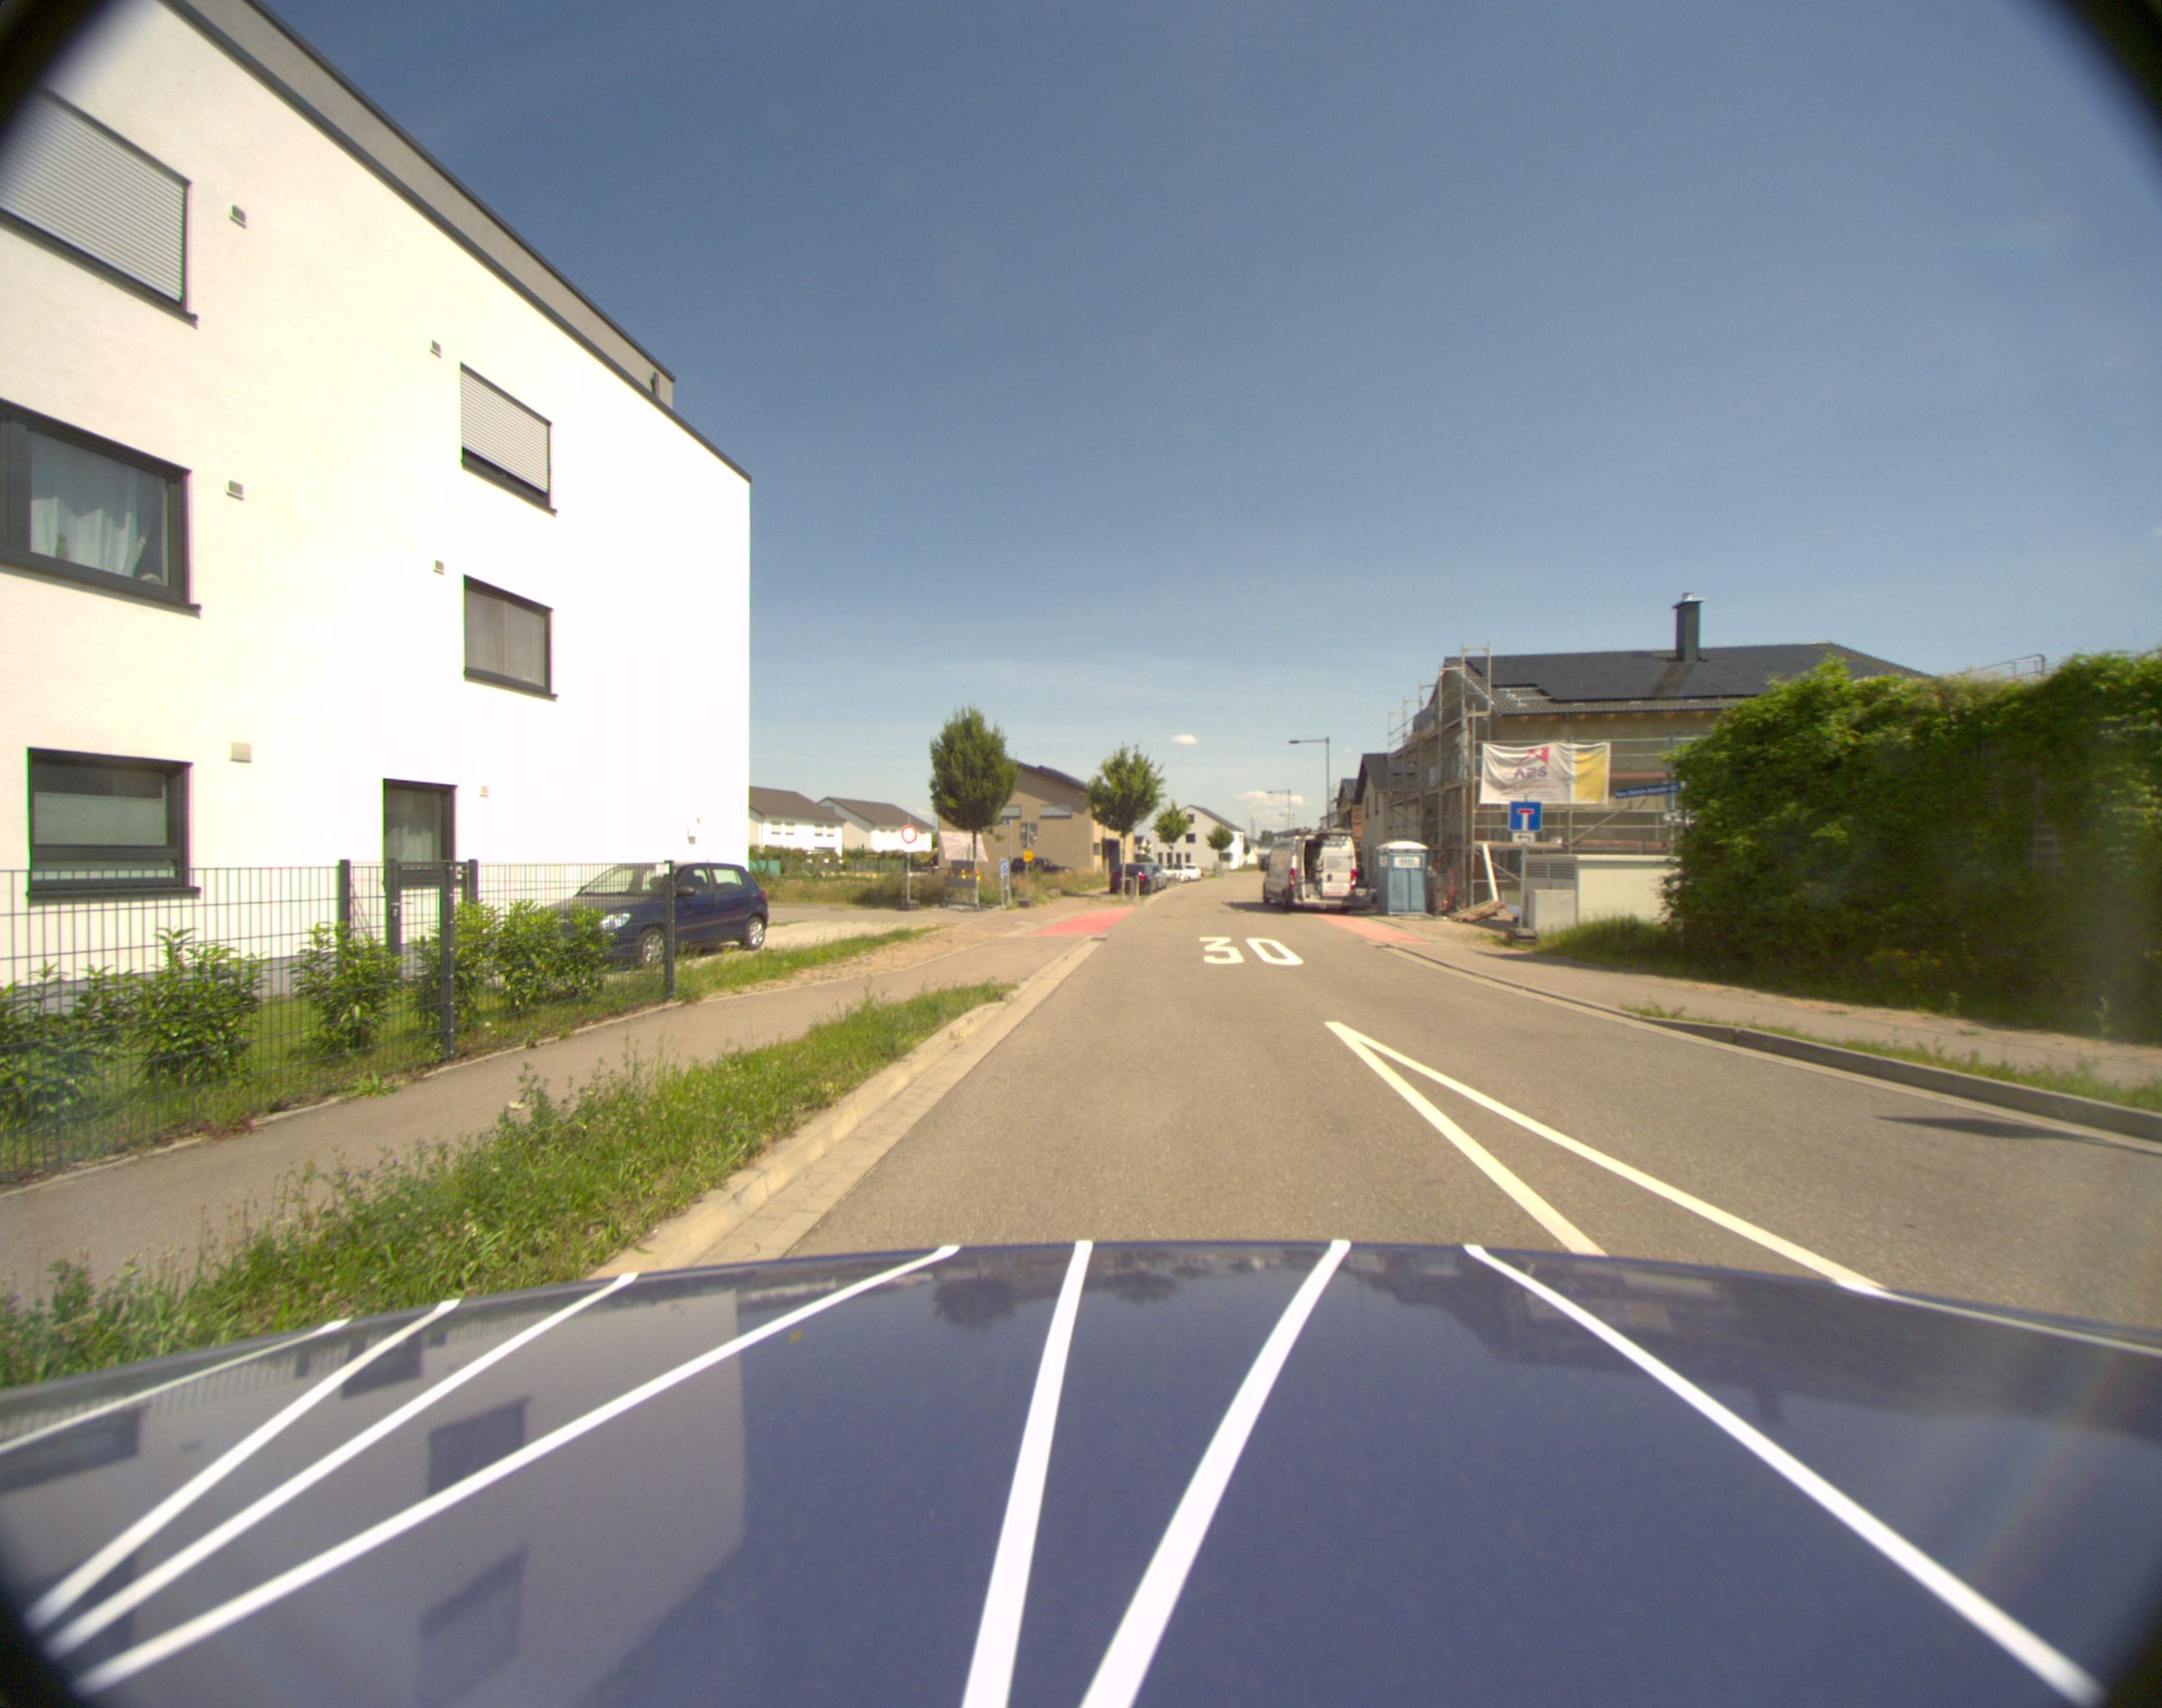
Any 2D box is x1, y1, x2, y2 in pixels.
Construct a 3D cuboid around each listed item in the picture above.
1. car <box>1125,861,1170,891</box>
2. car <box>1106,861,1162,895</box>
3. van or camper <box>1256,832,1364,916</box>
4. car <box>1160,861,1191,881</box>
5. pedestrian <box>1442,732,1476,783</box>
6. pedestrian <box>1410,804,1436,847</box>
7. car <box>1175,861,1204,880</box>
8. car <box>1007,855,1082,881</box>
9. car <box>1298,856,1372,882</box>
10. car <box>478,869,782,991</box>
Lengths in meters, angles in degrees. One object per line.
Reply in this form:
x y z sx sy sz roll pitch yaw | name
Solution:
3.803 1.181 42.519 1.921 1.502 5.300 2 0 11 | car
2.634 1.112 36.557 1.921 1.461 5.145 2 0 13 | car
7.682 0.577 26.242 2.277 2.538 6.369 0 1 5 | van or camper
7.291 1.271 58.148 1.782 1.417 4.520 2 0 14 | car
11.802 -2.999 23.725 0.564 1.491 0.746 -1 3 -26 | pedestrian
13.247 -1.108 29.435 0.747 1.670 0.578 1 2 7 | pedestrian
9.198 1.349 64.196 1.816 1.447 4.570 2 0 16 | car
-2.467 0.926 52.212 4.752 1.635 2.002 1 1 12 | car
16.861 0.989 50.693 4.431 1.602 2.002 1 0 11 | car
-6.395 0.979 11.416 1.680 1.461 4.119 -1 -1 8 | car
